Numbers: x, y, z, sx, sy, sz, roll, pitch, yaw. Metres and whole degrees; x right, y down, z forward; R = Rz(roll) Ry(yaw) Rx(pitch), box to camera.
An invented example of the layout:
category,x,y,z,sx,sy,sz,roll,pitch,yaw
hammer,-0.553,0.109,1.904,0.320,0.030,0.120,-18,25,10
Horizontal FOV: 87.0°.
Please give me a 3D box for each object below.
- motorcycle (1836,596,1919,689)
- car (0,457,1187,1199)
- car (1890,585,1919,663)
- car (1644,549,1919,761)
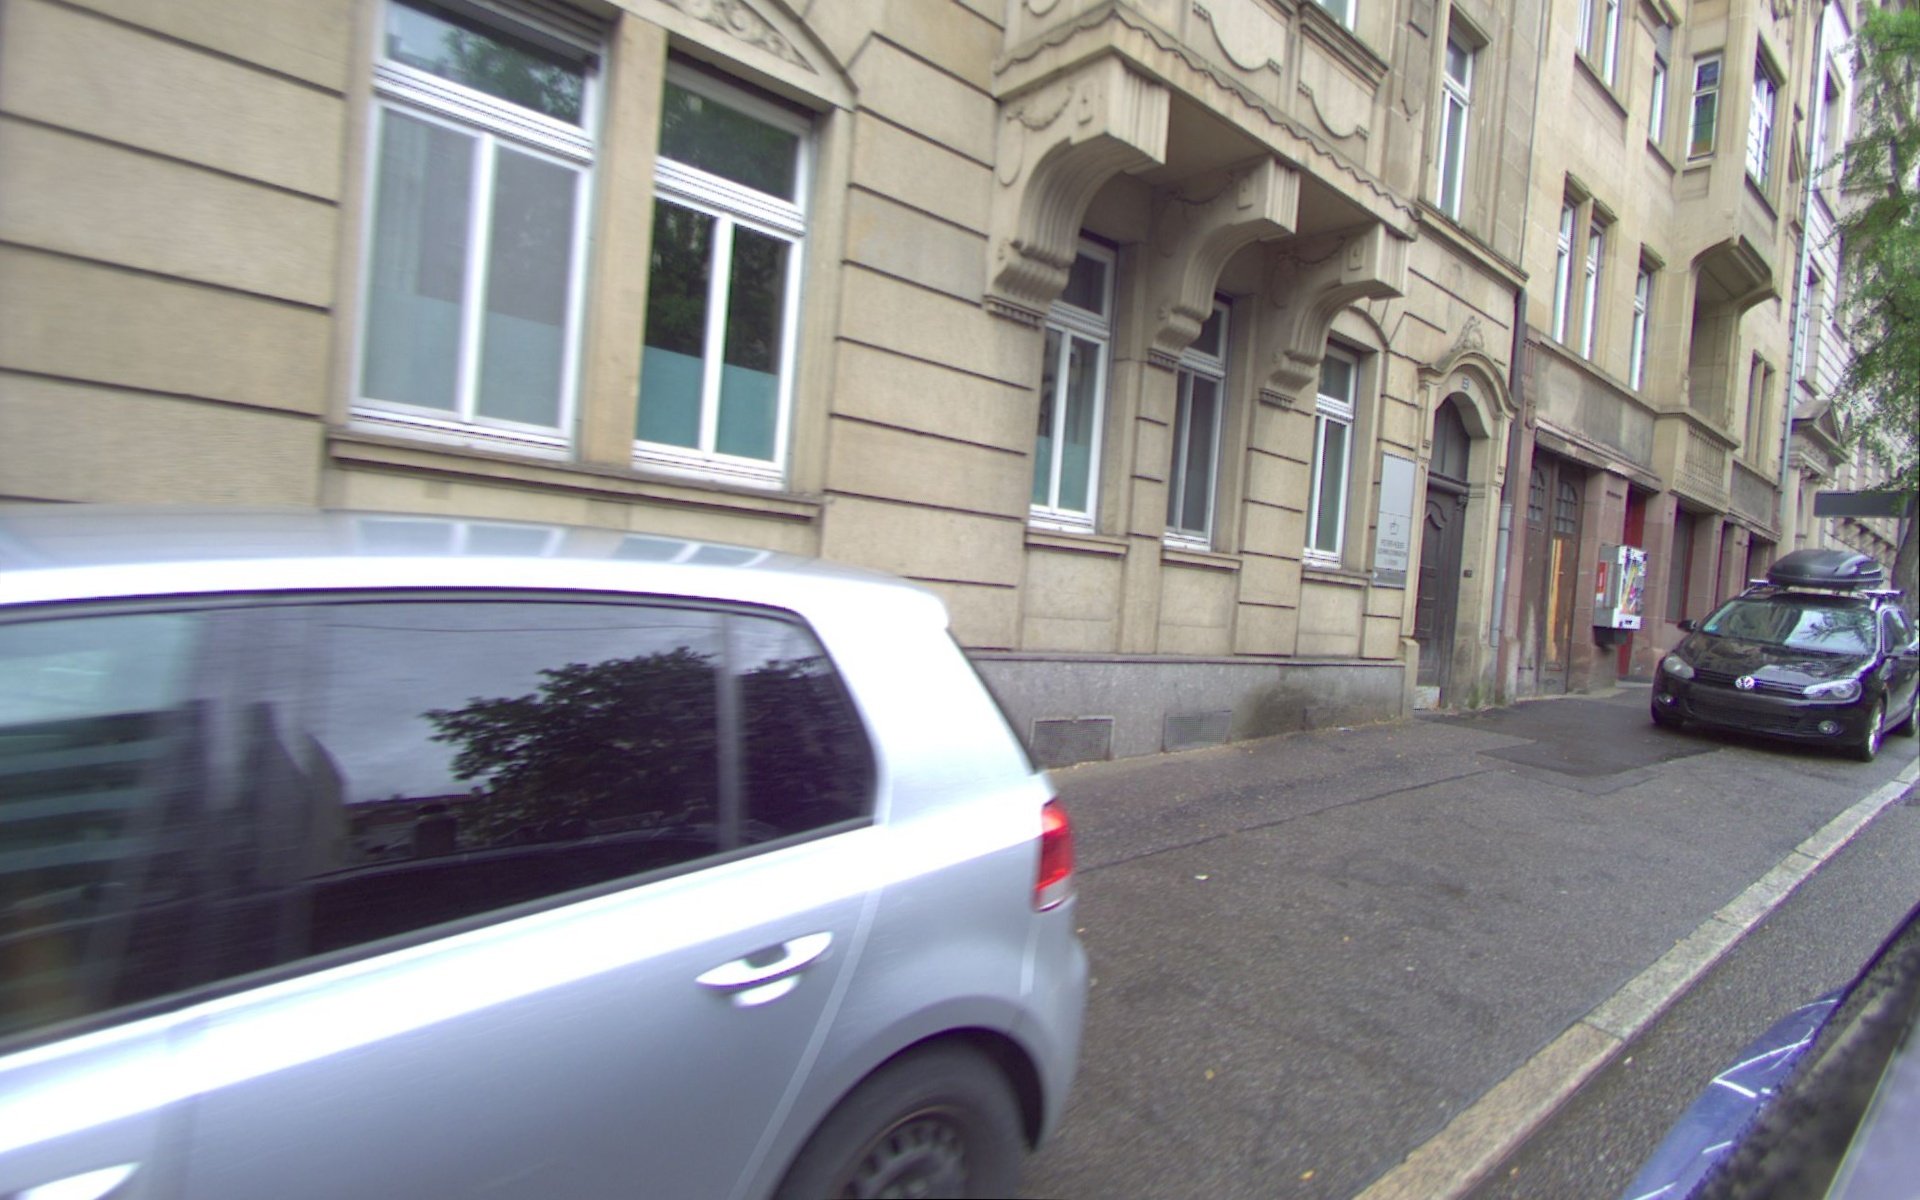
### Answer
category,x,y,z,sx,sy,sz,roll,pitch,yaw
motorcycle,14.324,0.672,14.921,2.233,1.258,0.525,5,3,0
car,-1.645,0.530,1.483,3.930,1.468,1.765,0,7,-41
car,20.256,0.521,20.252,3.966,1.469,1.795,0,5,-40
car,8.932,0.444,10.562,4.025,1.670,1.765,0,6,-40
